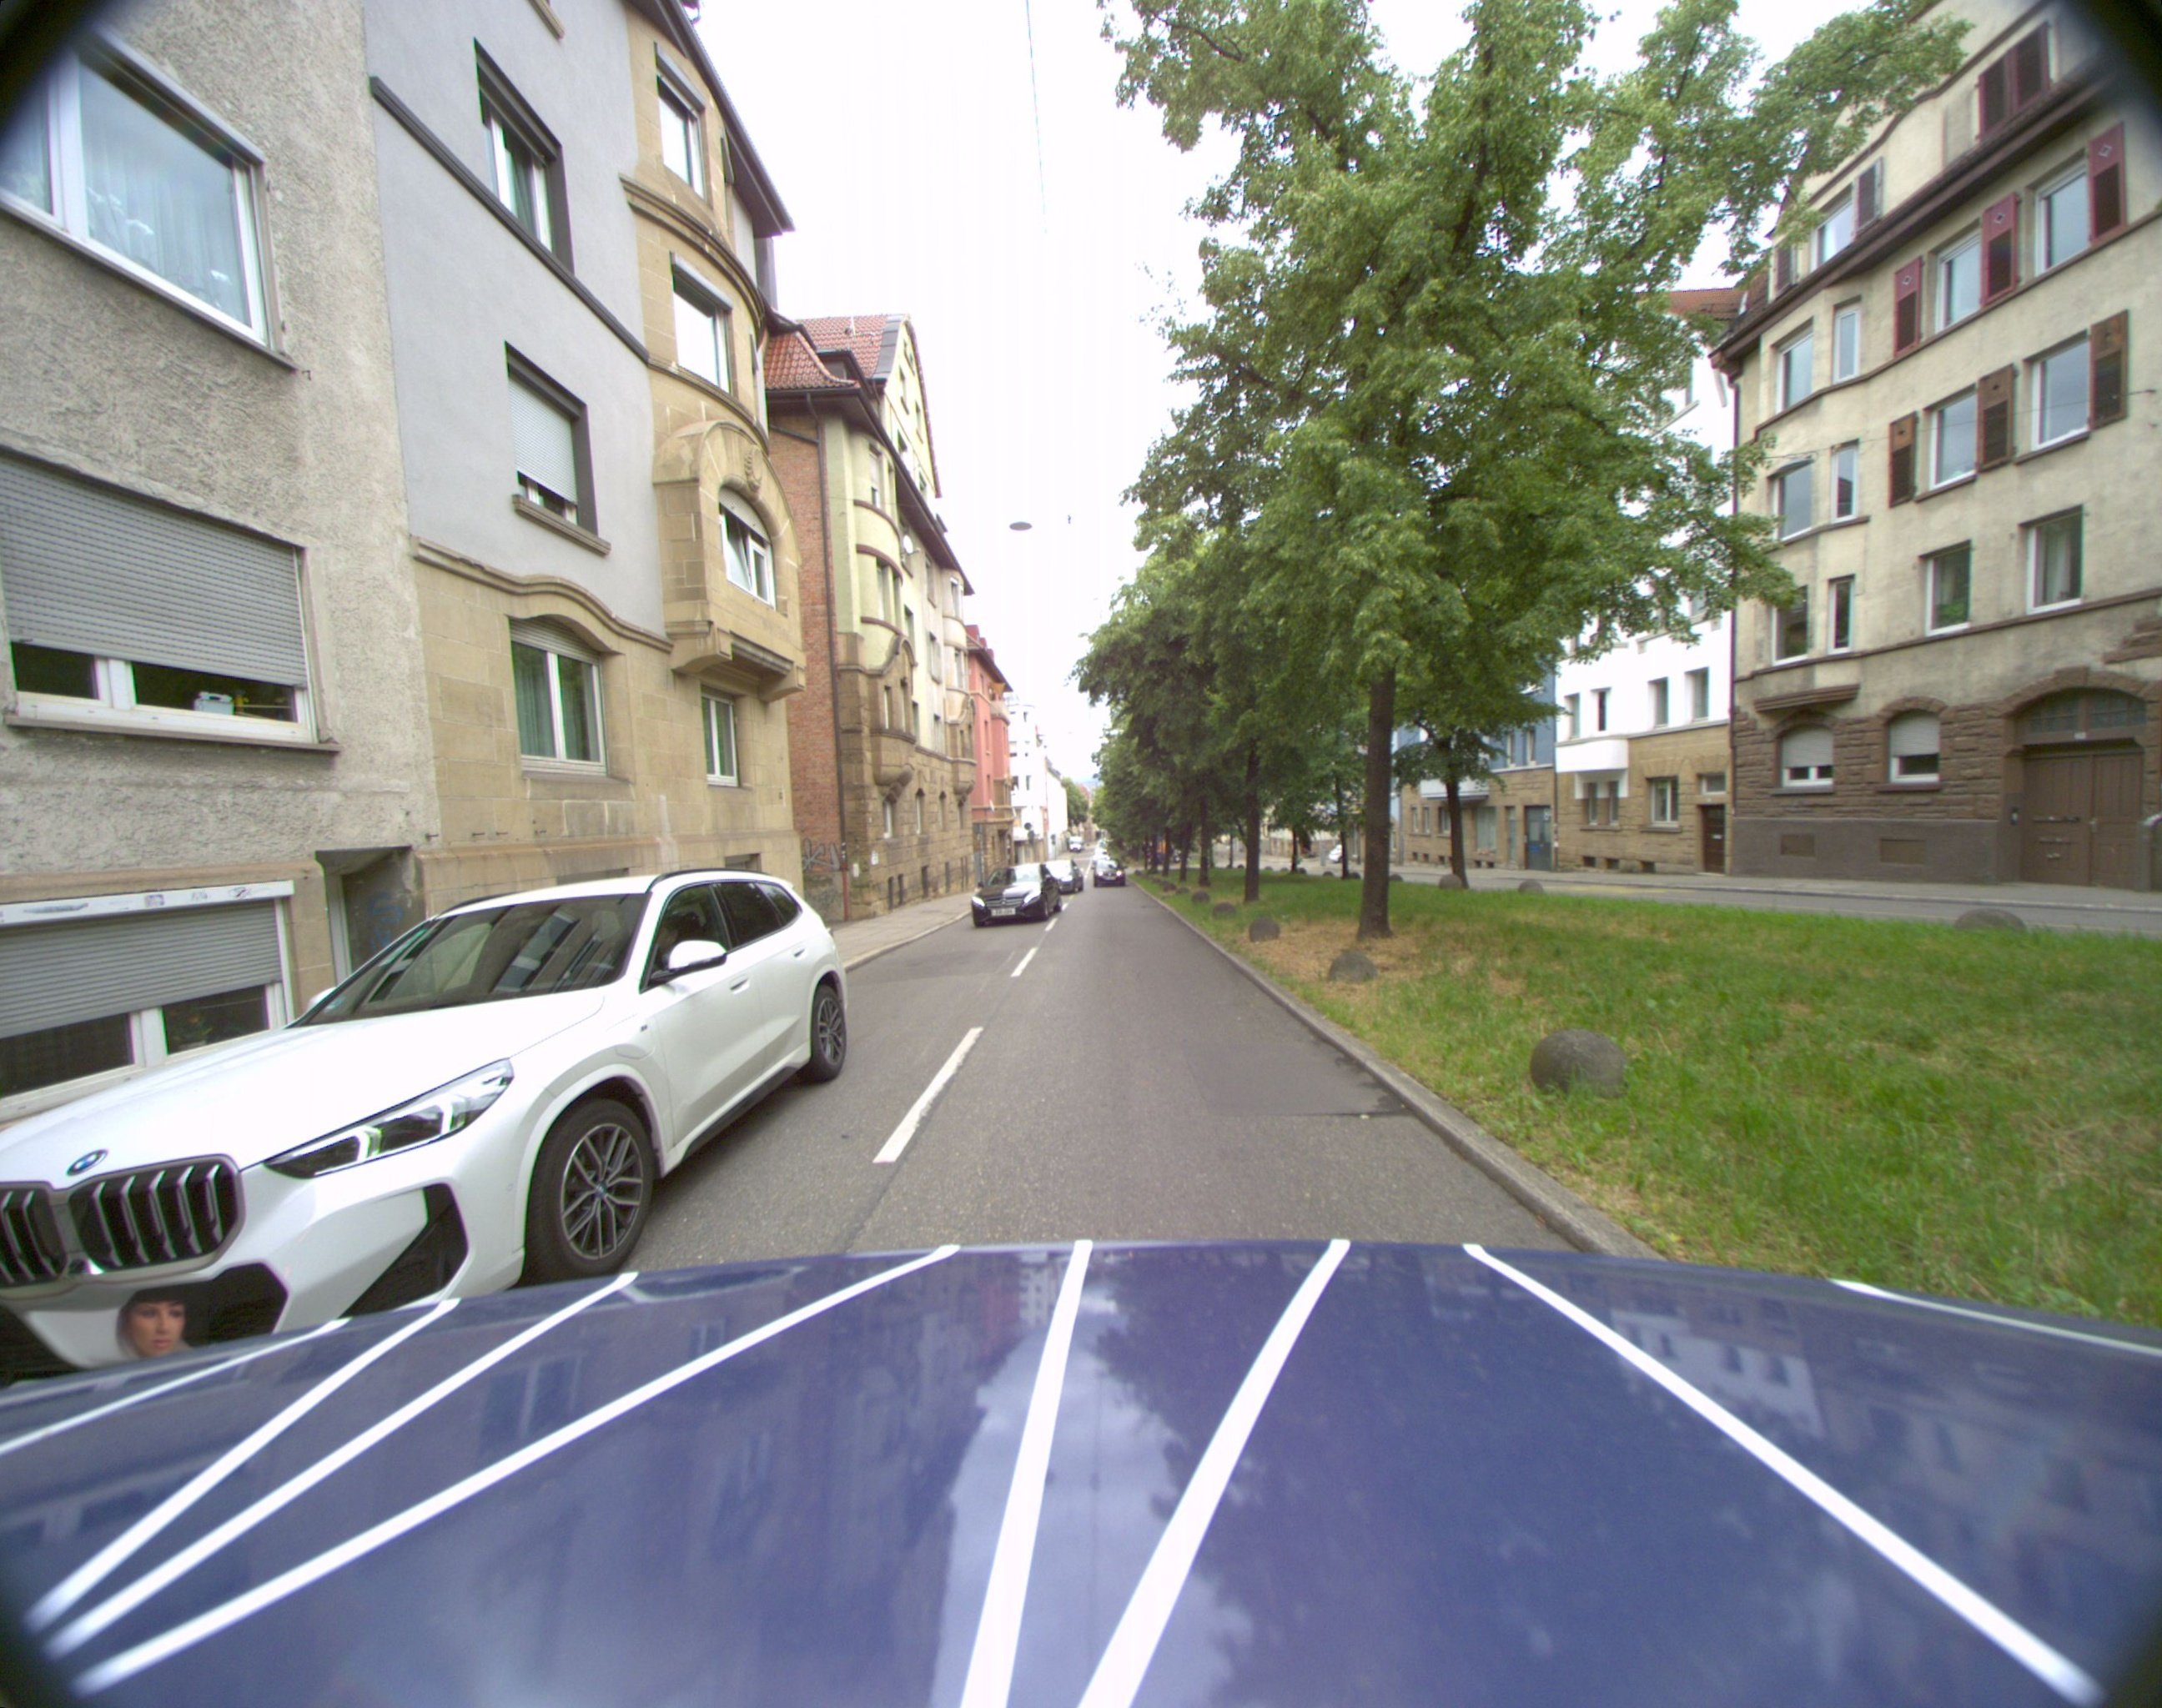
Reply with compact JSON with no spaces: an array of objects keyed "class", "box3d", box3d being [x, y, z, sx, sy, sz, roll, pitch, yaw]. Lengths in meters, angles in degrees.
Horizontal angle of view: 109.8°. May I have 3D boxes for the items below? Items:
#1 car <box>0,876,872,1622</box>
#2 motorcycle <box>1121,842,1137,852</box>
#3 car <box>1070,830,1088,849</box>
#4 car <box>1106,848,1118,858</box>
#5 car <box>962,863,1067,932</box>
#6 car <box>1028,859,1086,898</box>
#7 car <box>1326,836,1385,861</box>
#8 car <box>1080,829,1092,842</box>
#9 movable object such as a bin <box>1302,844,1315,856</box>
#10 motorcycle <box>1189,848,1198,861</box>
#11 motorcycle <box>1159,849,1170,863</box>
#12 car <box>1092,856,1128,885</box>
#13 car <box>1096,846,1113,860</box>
[{"class":"car","box3d":[-2.792,1.085,4.121,1.854,1.595,4.563,-7,0,0]},{"class":"motorcycle","box3d":[6.154,-0.910,97.359,2.040,1.126,0.454,-3,4,2]},{"class":"car","box3d":[-0.388,-2.652,137.402,3.026,3.045,7.165,-2,3,0]},{"class":"car","box3d":[4.675,-0.116,114.555,1.783,1.420,4.281,-1,0,2]},{"class":"car","box3d":[-1.598,1.042,19.903,1.853,1.360,4.282,-5,0,6]},{"class":"car","box3d":[-0.949,0.996,33.048,1.853,1.360,4.282,-5,0,6]},{"class":"car","box3d":[22.404,-0.484,62.032,4.007,1.462,1.870,-7,3,-1]},{"class":"car","box3d":[1.271,-4.682,191.018,3.026,3.045,7.165,-2,3,0]},{"class":"movable object such as a bin","box3d":[20.848,-0.394,69.693,0.887,0.988,0.668,-5,2,0]},{"class":"motorcycle","box3d":[10.392,0.057,70.279,0.750,1.068,1.851,-3,4,9]},{"class":"motorcycle","box3d":[7.756,0.168,70.227,0.888,1.090,2.481,-3,3,9]},{"class":"car","box3d":[1.520,0.823,40.379,1.783,1.420,4.281,-1,0,2]},{"class":"car","box3d":[2.574,-0.135,83.413,1.783,1.420,4.281,-1,0,2]}]
